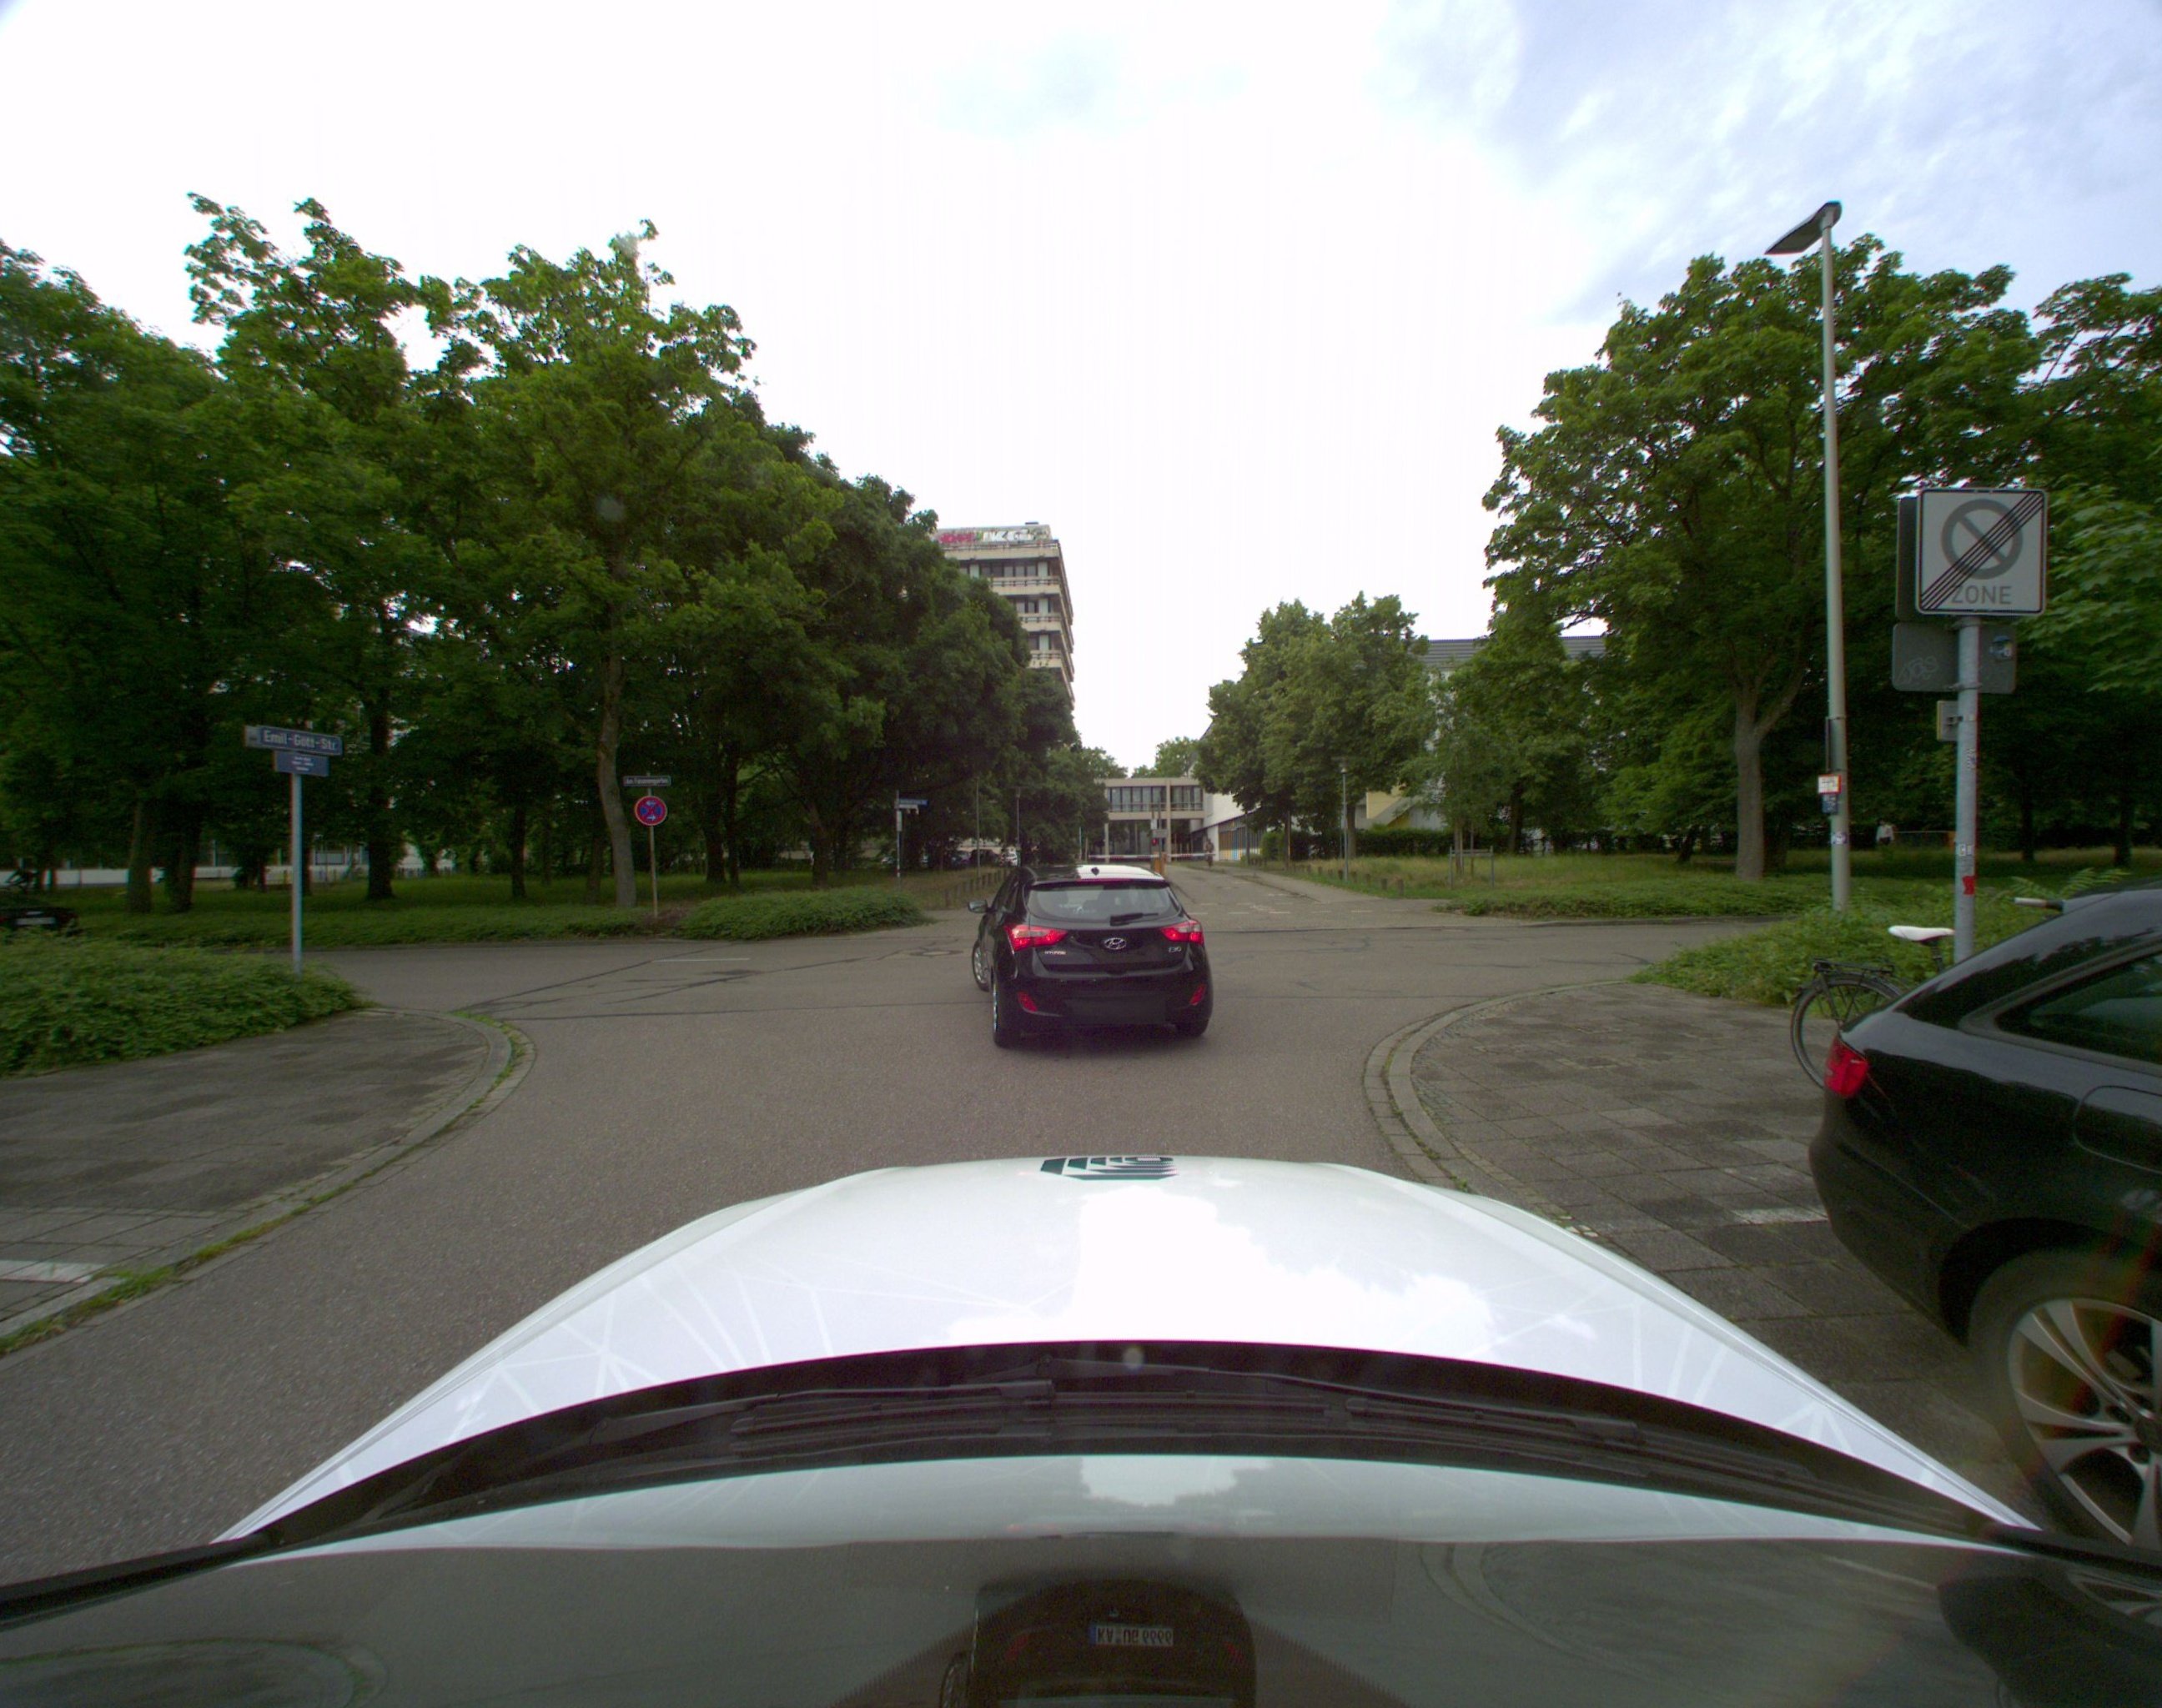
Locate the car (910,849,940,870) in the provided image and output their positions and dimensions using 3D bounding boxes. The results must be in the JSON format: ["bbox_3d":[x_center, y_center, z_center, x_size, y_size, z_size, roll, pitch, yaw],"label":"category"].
[{"bbox_3d":[-13.744,0.548,71.950,1.989,1.728,3.995,-1,-2,-3],"label":"car"}]

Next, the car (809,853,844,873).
[{"bbox_3d":[-22.613,0.789,72.521,1.913,1.618,3.996,-1,0,-3],"label":"car"}]

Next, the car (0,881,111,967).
[{"bbox_3d":[-20.587,1.289,14.544,4.091,1.463,1.869,-1,-4,-1],"label":"car"}]

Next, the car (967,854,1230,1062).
[{"bbox_3d":[-0.109,0.765,7.904,1.846,1.462,3.814,-1,0,-10],"label":"car"}]

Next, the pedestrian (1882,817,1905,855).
[{"bbox_3d":[38.886,-0.872,38.982,0.567,1.798,0.545,-1,1,11],"label":"pedestrian"}]

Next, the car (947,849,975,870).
[{"bbox_3d":[-10.640,0.503,72.230,1.989,1.794,3.995,-1,-2,-3],"label":"car"}]

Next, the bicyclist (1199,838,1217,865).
[{"bbox_3d":[8.097,-0.171,51.965,1.013,1.644,0.924,-1,0,2],"label":"bicyclist"}]

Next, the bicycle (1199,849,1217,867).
[{"bbox_3d":[8.085,0.257,51.873,0.863,1.074,2.143,-1,0,2],"label":"bicycle"}]

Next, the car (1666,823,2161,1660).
[{"bbox_3d":[2.820,0.660,0.230,1.855,1.462,4.724,-2,0,-1],"label":"car"}]

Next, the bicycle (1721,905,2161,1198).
[{"bbox_3d":[4.197,0.801,4.011,0.565,1.004,1.889,-3,-2,1],"label":"bicycle"}]

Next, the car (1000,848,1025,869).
[{"bbox_3d":[-6.060,0.434,72.221,1.989,1.762,3.996,-1,-1,-3],"label":"car"}]

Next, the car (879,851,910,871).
[{"bbox_3d":[-16.453,0.593,72.061,1.989,1.618,3.996,-1,0,-3],"label":"car"}]
